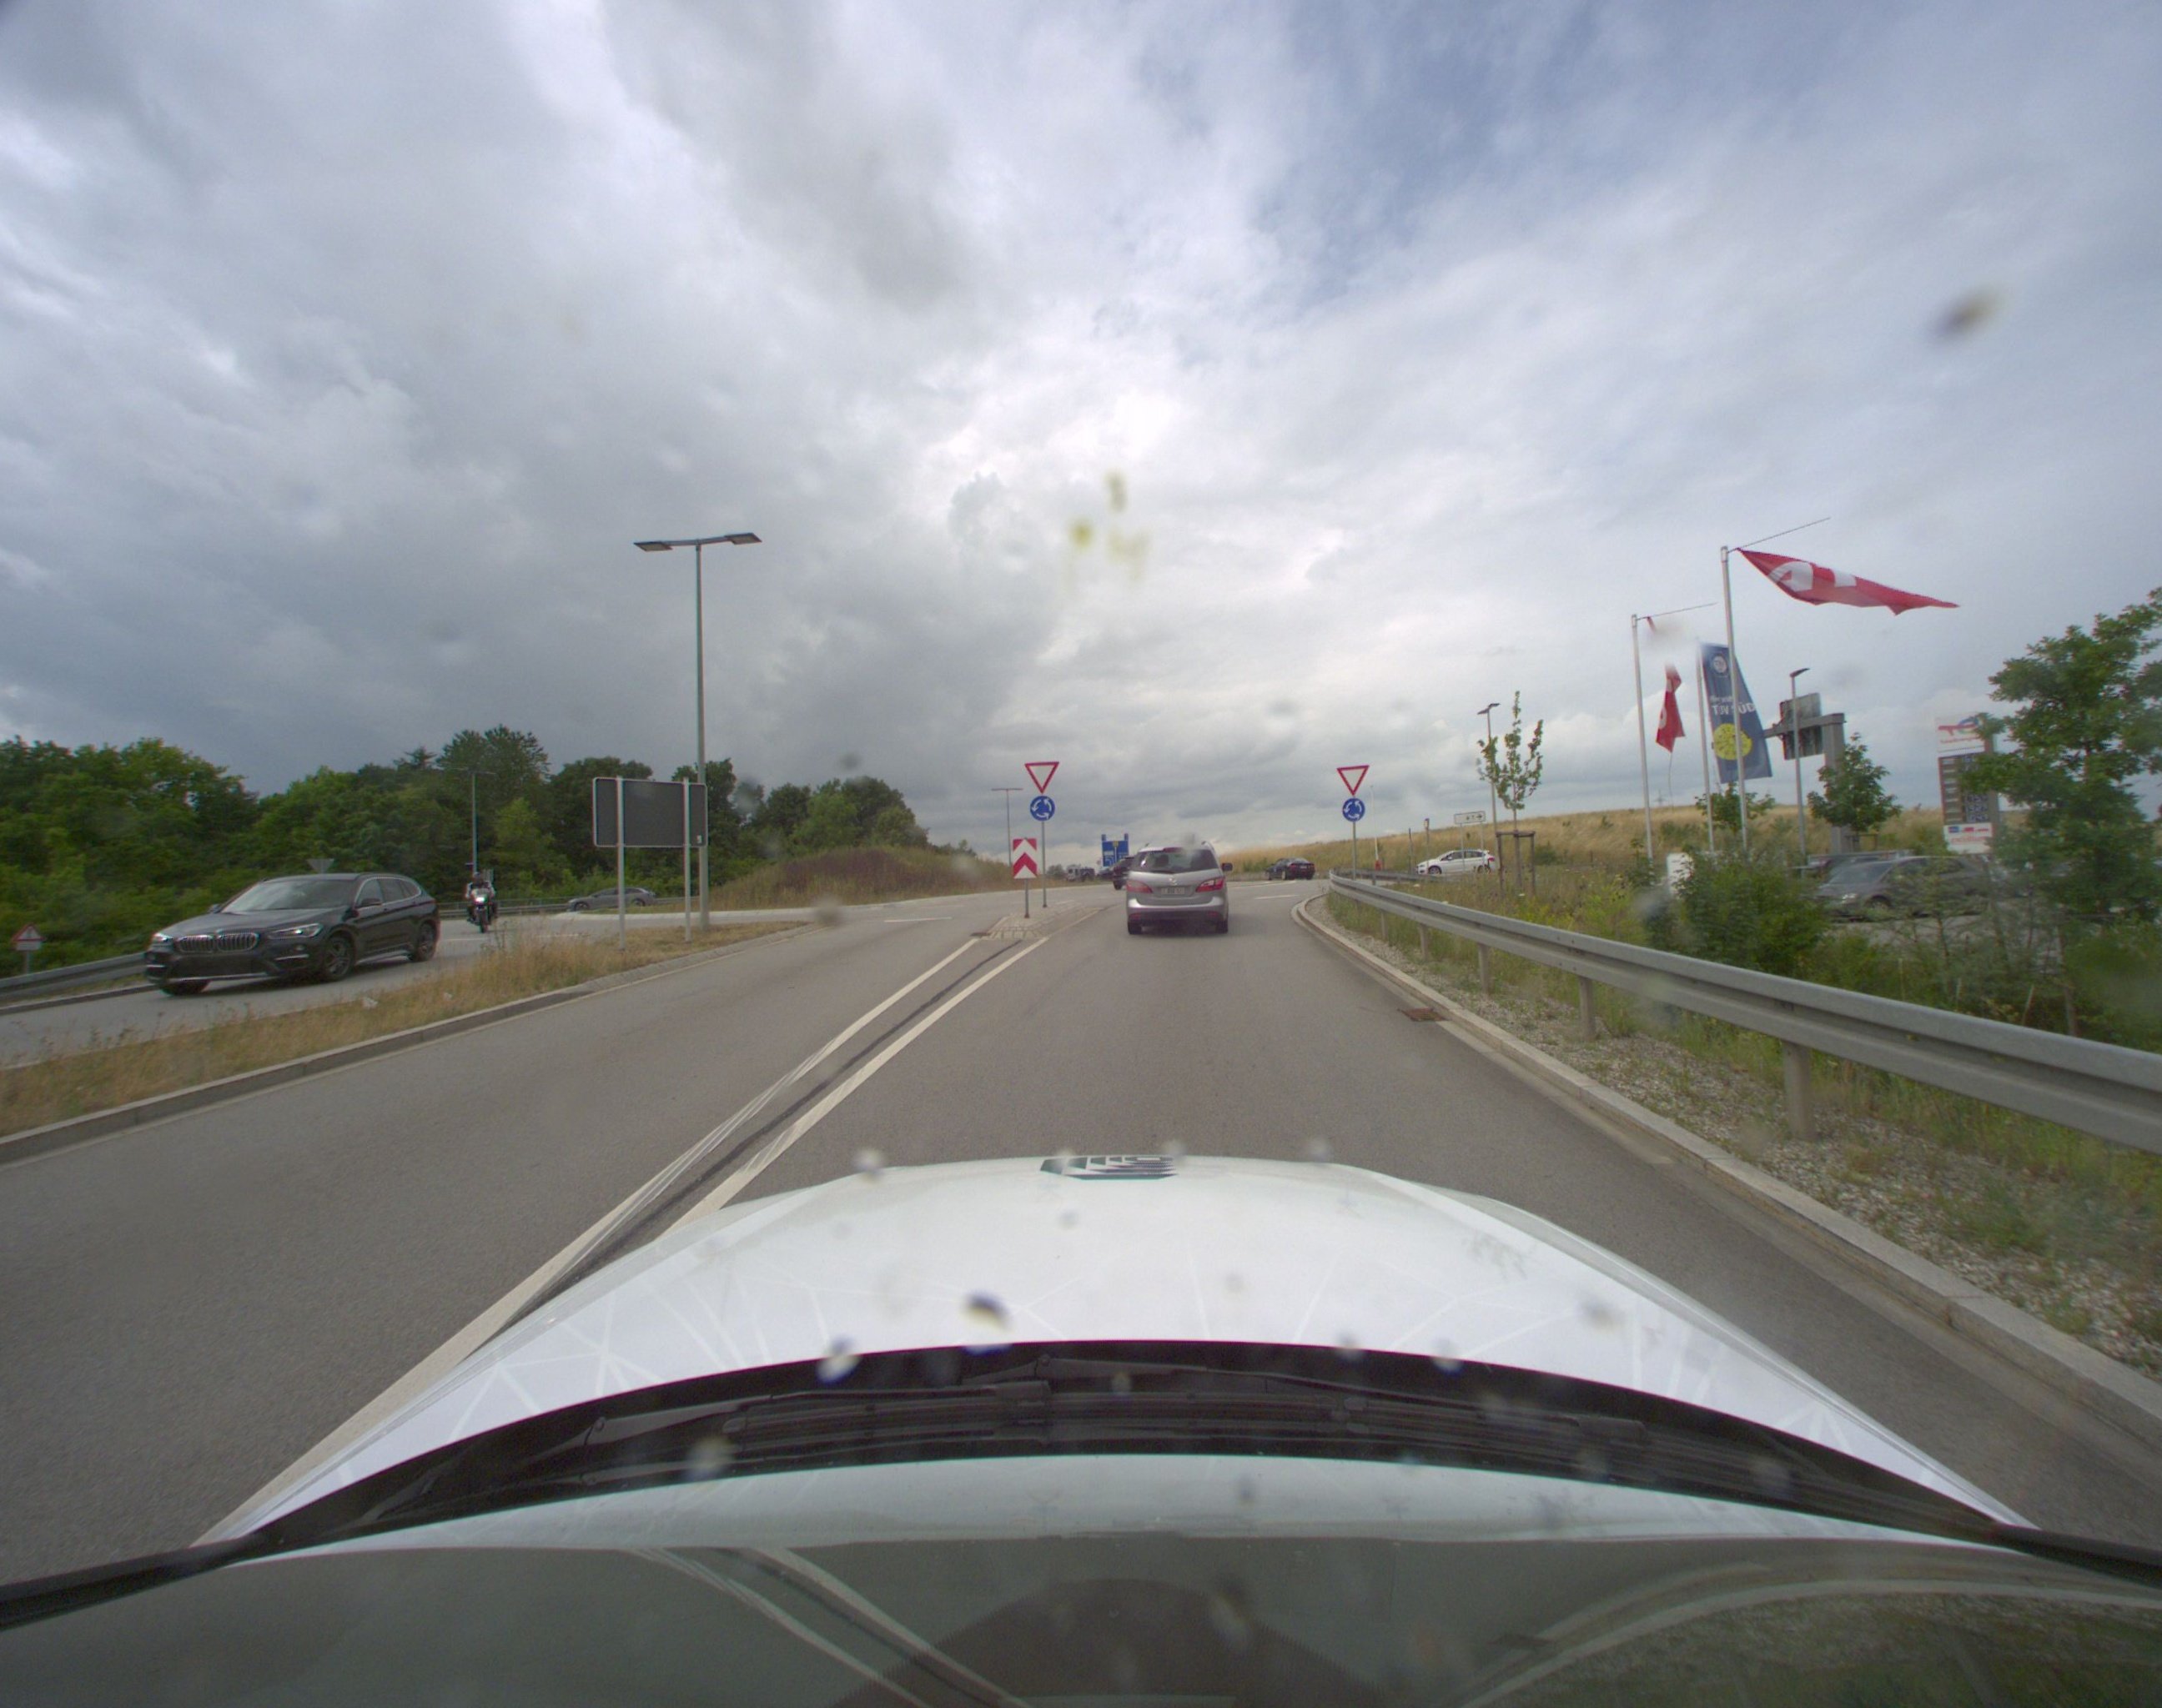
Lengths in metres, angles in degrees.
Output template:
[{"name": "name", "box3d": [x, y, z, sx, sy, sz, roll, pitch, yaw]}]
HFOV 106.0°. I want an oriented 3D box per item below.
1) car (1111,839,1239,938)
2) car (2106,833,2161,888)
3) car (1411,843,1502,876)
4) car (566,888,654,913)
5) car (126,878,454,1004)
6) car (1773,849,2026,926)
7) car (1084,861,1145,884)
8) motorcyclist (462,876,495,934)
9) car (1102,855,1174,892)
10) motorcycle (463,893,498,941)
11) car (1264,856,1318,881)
[{"name": "car", "box3d": [1.892, 0.554, 15.277, 1.898, 1.574, 4.014, -2, 0, 13]}, {"name": "car", "box3d": [33.241, 0.235, 24.666, 1.893, 1.574, 3.762, -2, -3, 39]}, {"name": "car", "box3d": [21.475, 0.310, 46.762, 4.382, 1.629, 1.791, -3, -1, 13]}, {"name": "car", "box3d": [-28.879, 2.807, 50.092, 4.487, 1.175, 1.619, -3, -1, -27]}, {"name": "car", "box3d": [-11.749, 1.165, 12.578, 1.892, 1.466, 4.254, -3, -1, -18]}, {"name": "car", "box3d": [21.190, 0.847, 21.200, 4.811, 1.675, 1.962, -2, -2, -5]}, {"name": "car", "box3d": [2.179, 1.225, 53.664, 1.674, 1.339, 3.952, -2, -1, -42]}, {"name": "motorcyclist", "box3d": [-17.081, 1.419, 23.100, 0.677, 1.576, 0.837, -3, 0, -36]}, {"name": "car", "box3d": [2.506, 0.796, 34.894, 1.646, 1.378, 4.023, -4, -1, 24]}, {"name": "motorcycle", "box3d": [-17.090, 1.765, 23.172, 0.707, 1.229, 2.224, -3, 0, -37]}, {"name": "car", "box3d": [12.073, 0.810, 47.077, 1.597, 1.288, 4.036, -3, -1, -6]}]
